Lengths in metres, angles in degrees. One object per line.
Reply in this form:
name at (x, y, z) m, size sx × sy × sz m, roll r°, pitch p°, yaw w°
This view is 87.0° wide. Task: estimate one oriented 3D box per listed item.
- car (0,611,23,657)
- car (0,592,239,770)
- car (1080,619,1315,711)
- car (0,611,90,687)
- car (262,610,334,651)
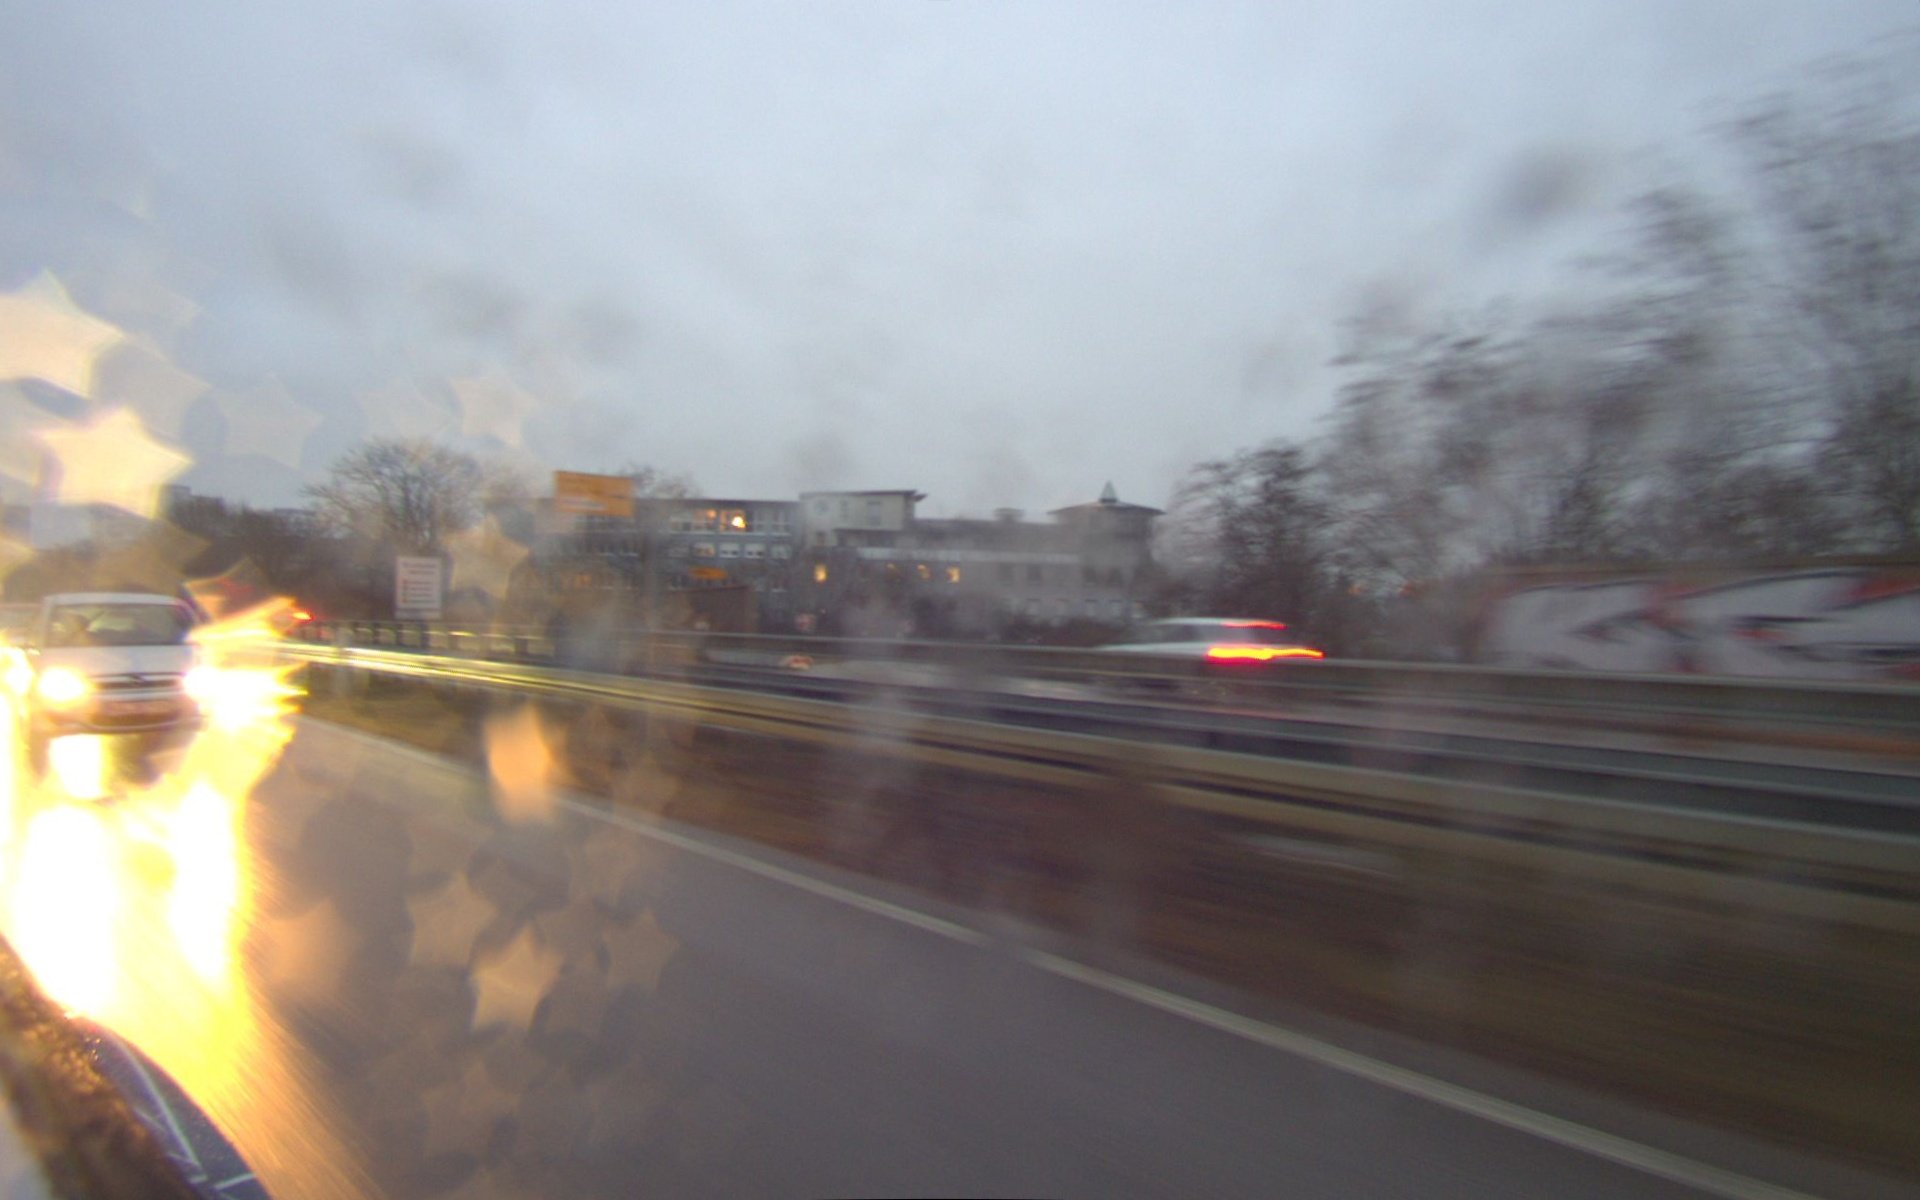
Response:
car at (-30.273, 1.021, 31.156) m, size 3.998 × 1.344 × 1.675 m, roll 0°, pitch 0°, yaw 41°
car at (-9.466, 0.760, 11.274) m, size 1.741 × 1.611 × 4.168 m, roll 1°, pitch -1°, yaw -44°
car at (4.588, 1.190, 20.301) m, size 1.814 × 1.574 × 4.696 m, roll -1°, pitch 0°, yaw -31°
car at (-20.609, 1.013, 22.150) m, size 4.147 × 1.542 × 1.999 m, roll -1°, pitch -1°, yaw 44°
car at (-33.339, 1.520, 50.935) m, size 4.285 × 1.933 × 1.972 m, roll -1°, pitch -1°, yaw 42°
